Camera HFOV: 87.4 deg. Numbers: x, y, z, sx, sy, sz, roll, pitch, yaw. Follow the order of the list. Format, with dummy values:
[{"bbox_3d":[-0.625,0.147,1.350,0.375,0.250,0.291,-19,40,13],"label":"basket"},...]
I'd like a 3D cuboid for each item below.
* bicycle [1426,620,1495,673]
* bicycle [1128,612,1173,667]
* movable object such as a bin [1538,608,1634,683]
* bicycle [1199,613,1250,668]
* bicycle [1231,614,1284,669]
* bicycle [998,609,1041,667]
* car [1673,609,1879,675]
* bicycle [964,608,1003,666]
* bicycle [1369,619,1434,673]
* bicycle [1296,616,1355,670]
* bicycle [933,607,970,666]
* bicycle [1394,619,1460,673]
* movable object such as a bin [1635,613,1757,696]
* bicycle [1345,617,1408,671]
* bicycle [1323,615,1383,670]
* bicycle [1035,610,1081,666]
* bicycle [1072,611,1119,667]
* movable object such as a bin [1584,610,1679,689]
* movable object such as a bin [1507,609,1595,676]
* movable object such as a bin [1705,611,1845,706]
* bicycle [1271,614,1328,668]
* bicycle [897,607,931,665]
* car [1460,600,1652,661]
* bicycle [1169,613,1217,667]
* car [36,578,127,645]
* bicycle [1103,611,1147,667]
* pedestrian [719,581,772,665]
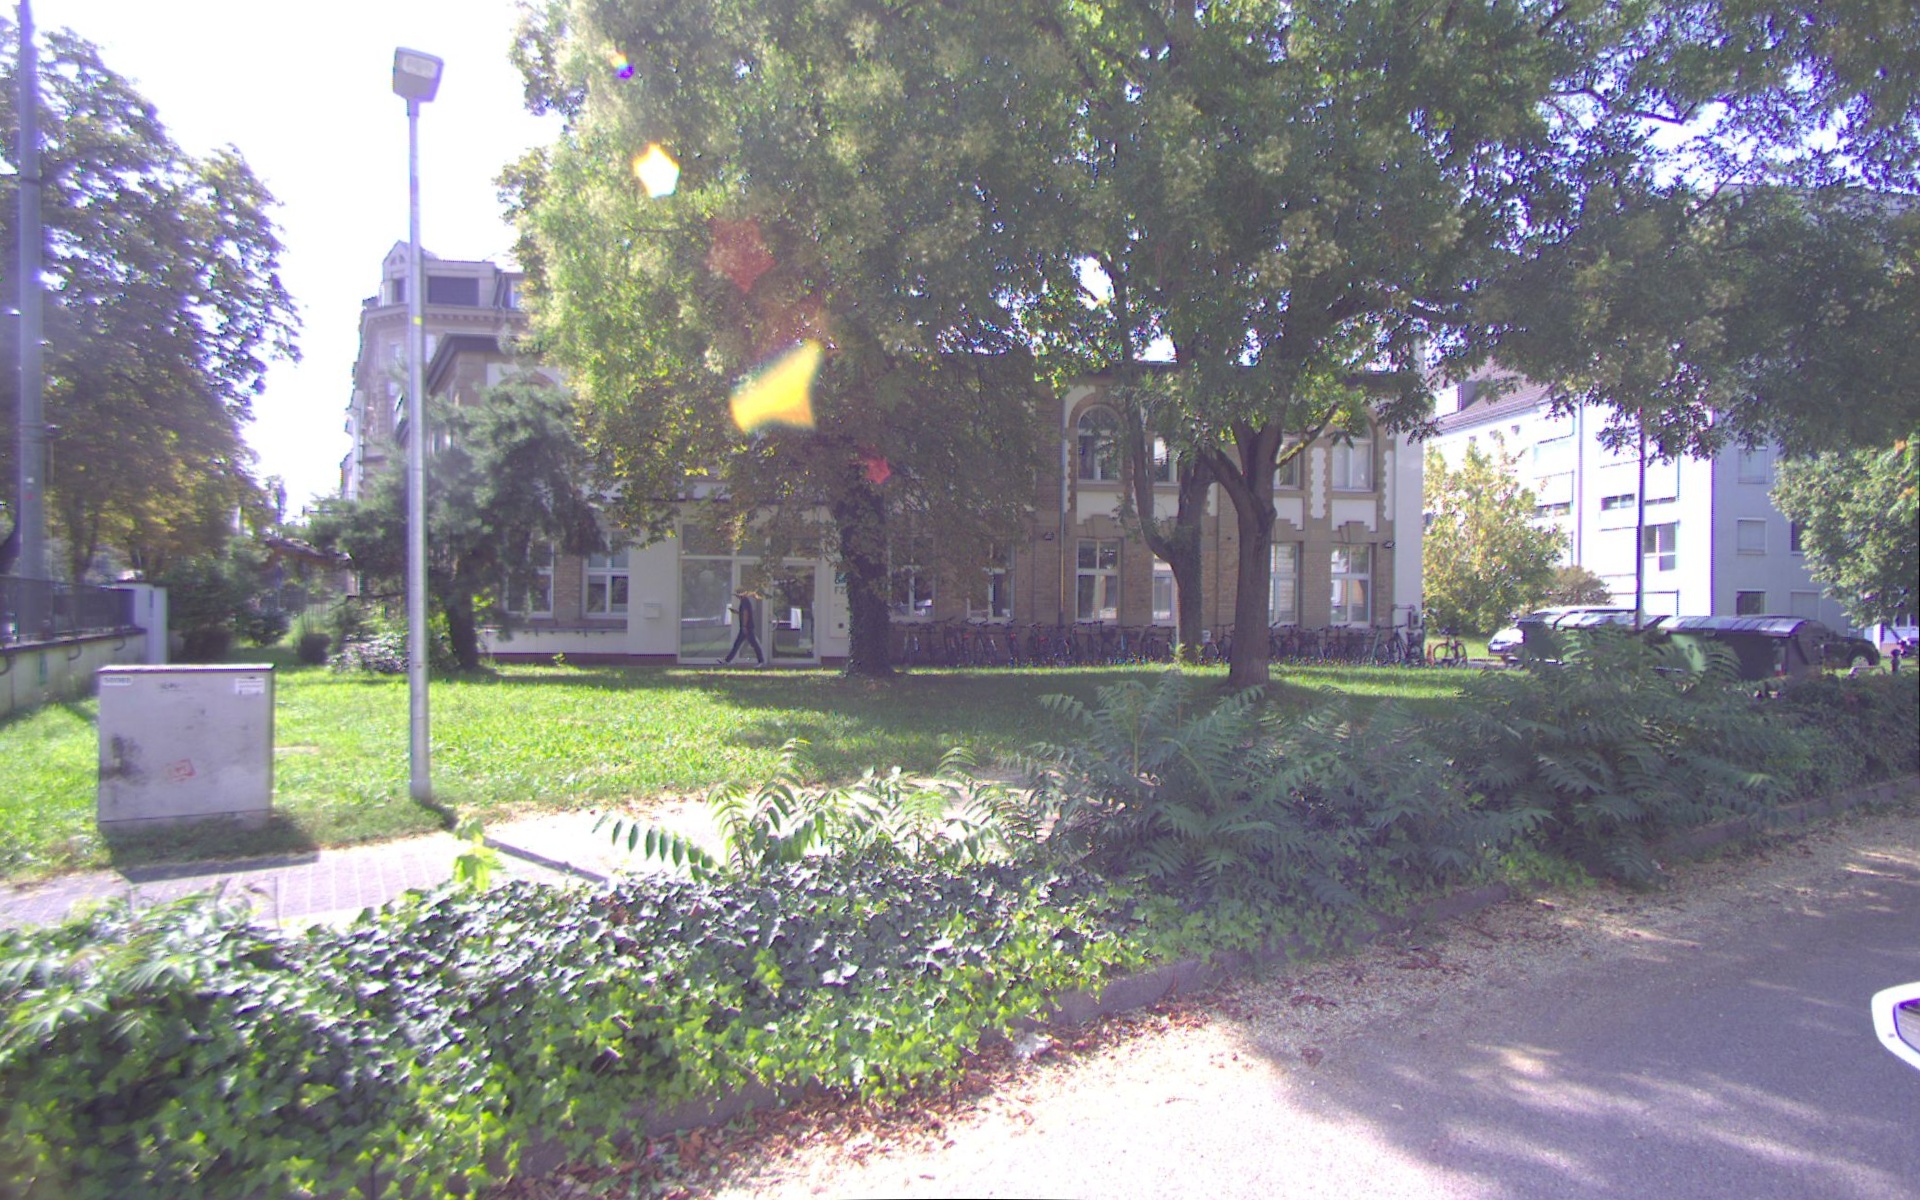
[{"bbox_3d":[12.946,1.184,26.045,0.597,1.320,2.173,1,-1,-3],"label":"bicycle"},{"bbox_3d":[4.746,0.970,25.177,0.597,1.320,2.173,1,-1,-3],"label":"bicycle"},{"bbox_3d":[13.287,0.943,21.347,1.228,1.515,1.204,1,0,-12],"label":"movable object such as a bin"},{"bbox_3d":[6.633,1.003,25.272,0.597,1.320,2.173,1,-1,-3],"label":"bicycle"},{"bbox_3d":[7.481,1.019,25.381,0.597,1.320,2.173,1,-1,-3],"label":"bicycle"},{"bbox_3d":[1.426,0.900,24.477,0.757,1.320,2.525,1,-1,-3],"label":"bicycle"},{"bbox_3d":[20.565,1.039,25.407,3.835,1.548,1.707,1,0,0],"label":"car"},{"bbox_3d":[0.549,0.881,24.286,0.757,1.320,2.525,1,-1,-3],"label":"bicycle"},{"bbox_3d":[11.311,1.159,25.805,0.597,1.320,2.173,1,-1,-3],"label":"bicycle"},{"bbox_3d":[9.301,1.081,25.634,0.597,1.320,2.173,1,-1,-3],"label":"bicycle"},{"bbox_3d":[-0.228,0.864,24.071,0.757,1.320,2.525,1,-1,-3],"label":"bicycle"},{"bbox_3d":[11.981,1.164,25.857,0.597,1.320,2.173,1,-1,-3],"label":"bicycle"},{"bbox_3d":[13.698,0.990,18.735,1.228,1.451,1.328,1,0,-13],"label":"movable object such as a bin"},{"bbox_3d":[10.639,1.103,25.739,0.597,1.320,2.173,1,-1,-3],"label":"bicycle"},{"bbox_3d":[9.976,1.064,25.582,0.597,1.320,2.173,1,-1,-3],"label":"bicycle"},{"bbox_3d":[2.404,0.925,24.860,0.757,1.320,2.525,1,-1,-3],"label":"bicycle"},{"bbox_3d":[3.345,0.942,24.958,0.757,1.320,2.272,1,-1,-3],"label":"bicycle"},{"bbox_3d":[13.292,0.960,19.913,1.082,1.501,1.099,1,0,-12],"label":"movable object such as a bin"},{"bbox_3d":[13.585,0.964,23.115,1.228,1.463,1.204,1,0,-12],"label":"movable object such as a bin"},{"bbox_3d":[13.886,0.968,17.153,1.316,1.513,1.366,1,0,-21],"label":"movable object such as a bin"},{"bbox_3d":[8.565,1.019,25.429,0.597,1.320,2.173,1,-1,-3],"label":"bicycle"},{"bbox_3d":[-1.106,0.851,24.146,0.757,1.320,2.525,1,-1,-3],"label":"bicycle"},{"bbox_3d":[19.791,0.998,33.543,4.987,1.906,2.501,1,0,-4],"label":"car"},{"bbox_3d":[5.868,0.993,25.393,0.597,1.320,2.173,1,-1,-3],"label":"bicycle"},{"bbox_3d":[-33.537,0.463,38.456,1.979,2.397,3.964,2,-1,-33],"label":"car"},{"bbox_3d":[4.102,0.957,25.091,0.615,1.320,2.272,1,-1,-3],"label":"bicycle"},{"bbox_3d":[-4.810,0.515,22.594,1.109,1.853,0.735,0,0,-8],"label":"pedestrian"}]
